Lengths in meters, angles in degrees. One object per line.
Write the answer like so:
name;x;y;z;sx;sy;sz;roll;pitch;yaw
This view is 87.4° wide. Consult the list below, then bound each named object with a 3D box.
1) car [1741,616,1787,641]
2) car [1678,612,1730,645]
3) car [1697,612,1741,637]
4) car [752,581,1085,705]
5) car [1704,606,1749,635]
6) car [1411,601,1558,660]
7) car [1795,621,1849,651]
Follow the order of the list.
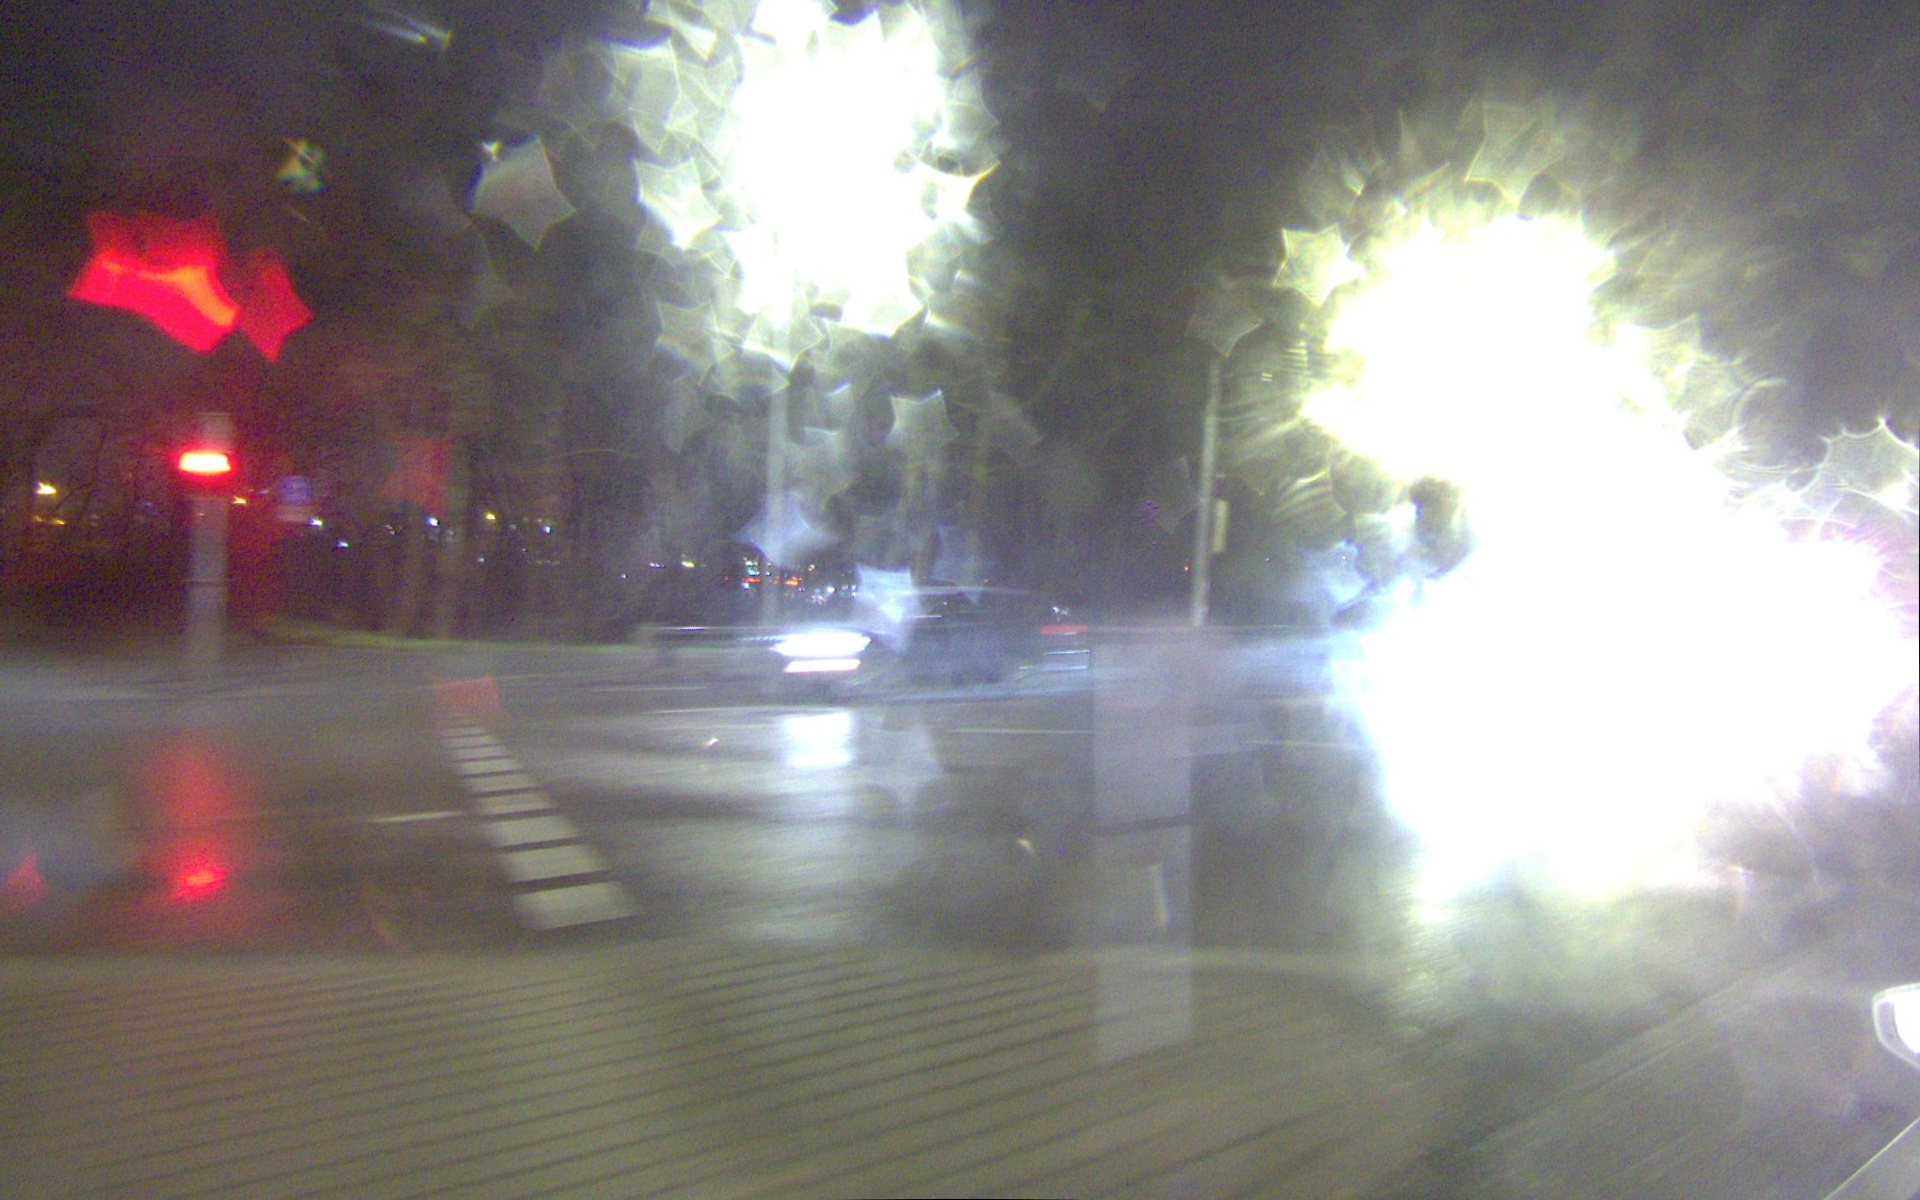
car;58.635;2.059;73.327;1.788;1.639;3.994;4;1;28
car;37.404;1.429;50.444;1.801;1.467;4.639;4;1;39
car;63.884;2.038;84.560;2.057;1.665;3.726;7;4;25
car;-0.485;0.554;14.120;4.434;1.480;1.767;2;1;-36
car;46.159;1.209;60.477;1.859;1.629;4.637;3;2;40
car;13.216;0.759;25.229;4.107;1.371;1.792;1;-1;-39
car;51.740;2.136;60.346;1.790;1.639;3.990;4;1;32
